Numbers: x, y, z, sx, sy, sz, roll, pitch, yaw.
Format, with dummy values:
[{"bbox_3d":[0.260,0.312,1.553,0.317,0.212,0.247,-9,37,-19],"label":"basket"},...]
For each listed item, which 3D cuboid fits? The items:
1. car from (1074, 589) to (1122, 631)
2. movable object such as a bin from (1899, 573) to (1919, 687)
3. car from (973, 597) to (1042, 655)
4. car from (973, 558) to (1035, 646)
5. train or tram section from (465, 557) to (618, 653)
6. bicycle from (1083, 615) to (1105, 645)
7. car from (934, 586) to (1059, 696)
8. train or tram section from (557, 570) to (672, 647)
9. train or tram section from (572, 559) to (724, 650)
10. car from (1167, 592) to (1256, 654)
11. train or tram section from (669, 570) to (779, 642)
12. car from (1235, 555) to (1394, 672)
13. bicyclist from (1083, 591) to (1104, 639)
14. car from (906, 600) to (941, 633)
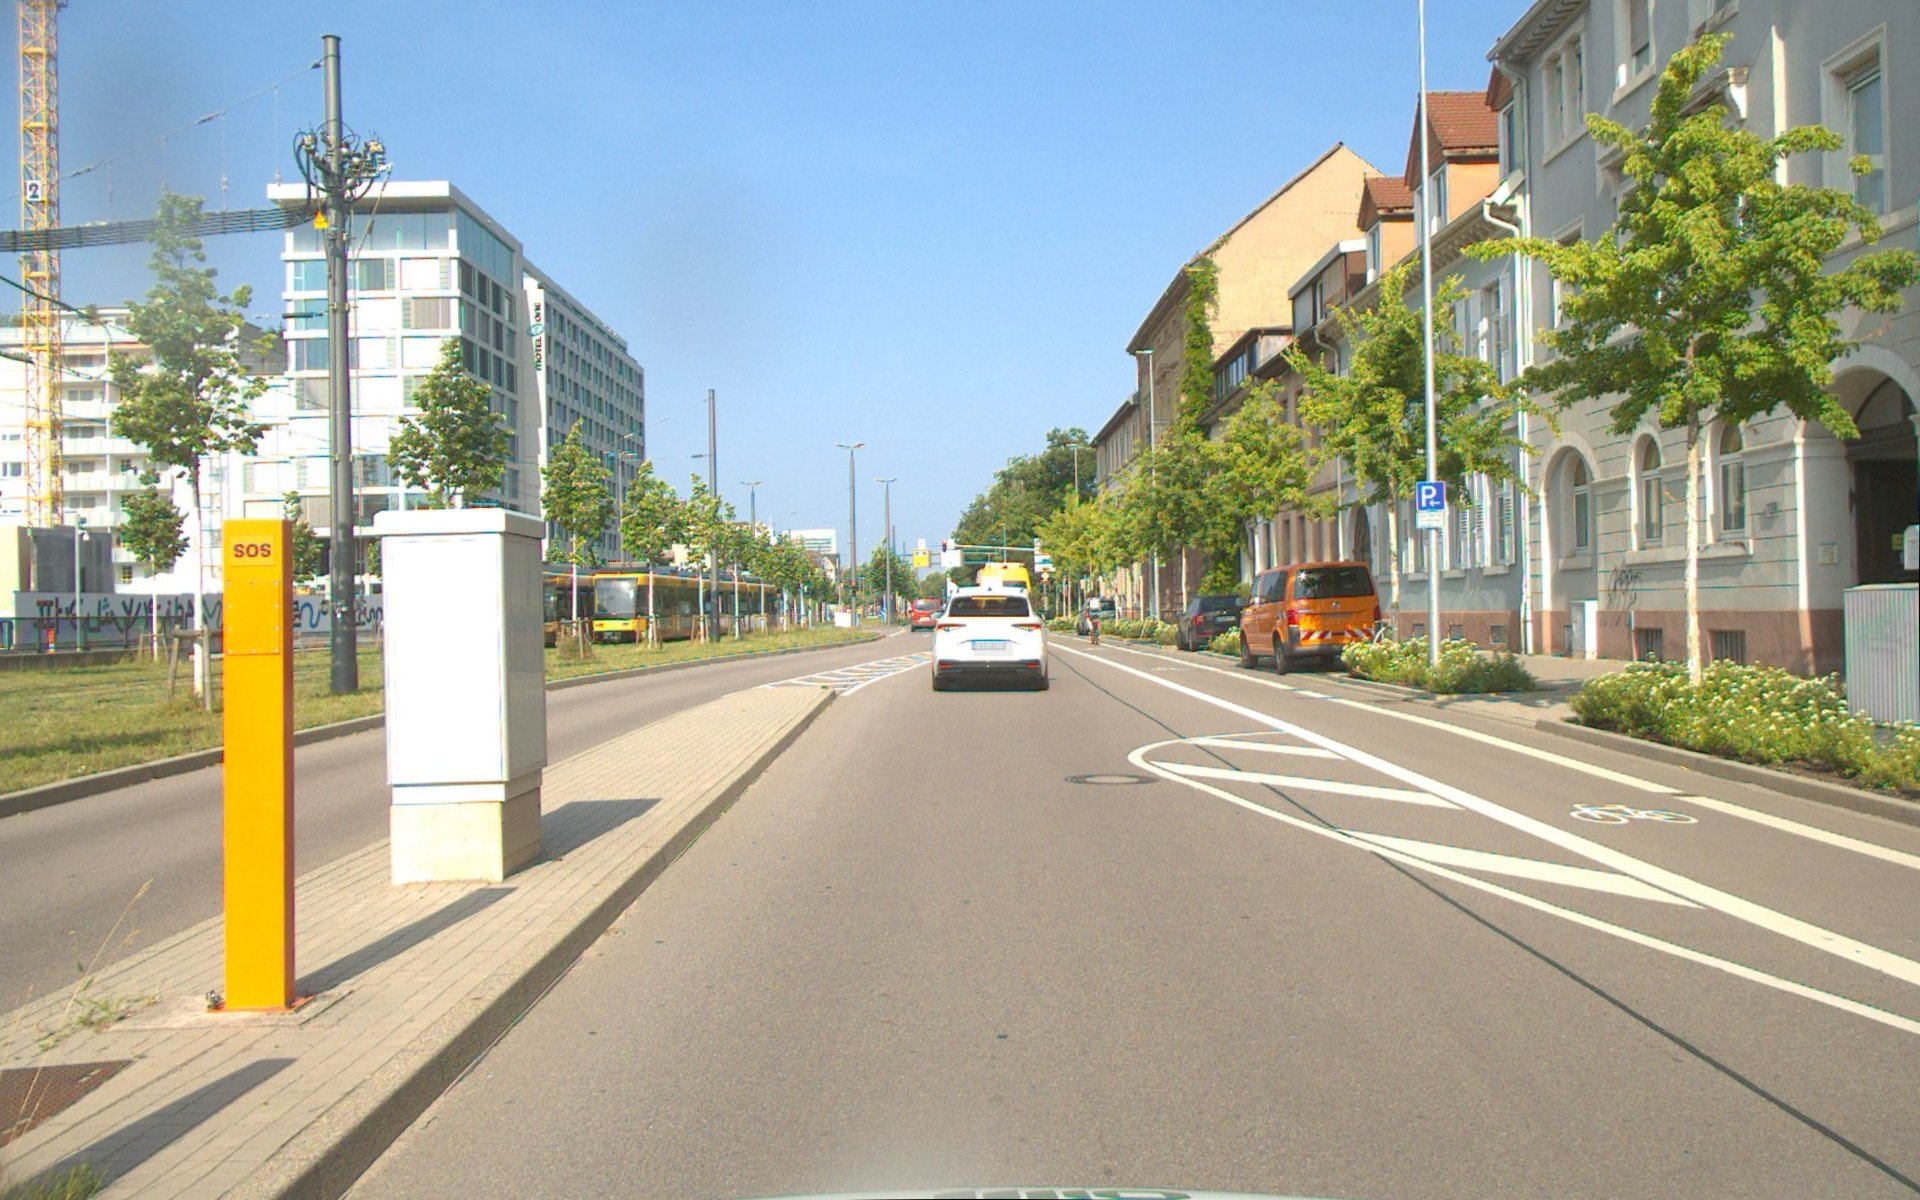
[{"bbox_3d":[6.253,0.431,75.327,1.775,1.844,3.835,-1,0,-1],"label":"car"},{"bbox_3d":[10.335,0.309,17.427,0.666,1.172,0.607,-2,2,-44],"label":"movable object such as a bin"},{"bbox_3d":[1.242,0.671,44.671,1.724,1.461,4.115,0,0,0],"label":"car"},{"bbox_3d":[1.495,0.004,58.500,1.979,2.844,5.401,-1,2,0],"label":"car"},{"bbox_3d":[-17.518,0.167,70.581,2.802,3.598,14.896,-1,0,-1],"label":"train or tram section"},{"bbox_3d":[4.526,1.016,55.962,0.642,0.955,1.517,-1,0,2],"label":"bicycle"},{"bbox_3d":[0.548,0.606,26.703,1.831,1.602,4.000,-1,0,0],"label":"car"},{"bbox_3d":[-17.486,0.395,84.871,2.822,3.599,13.610,-1,0,1],"label":"train or tram section"},{"bbox_3d":[-14.277,0.233,77.843,2.845,3.740,18.142,0,0,3],"label":"train or tram section"},{"bbox_3d":[6.779,0.604,44.990,1.639,1.509,4.311,-3,0,-1],"label":"car"},{"bbox_3d":[-13.398,0.371,96.007,2.845,3.772,18.295,0,0,3],"label":"train or tram section"},{"bbox_3d":[6.759,0.216,32.064,2.021,2.049,4.587,-1,1,-1],"label":"car"},{"bbox_3d":[4.526,0.497,56.073,0.626,1.604,0.771,-1,0,2],"label":"bicyclist"},{"bbox_3d":[-2.142,0.960,97.478,1.891,1.853,4.000,-1,0,1],"label":"car"}]
